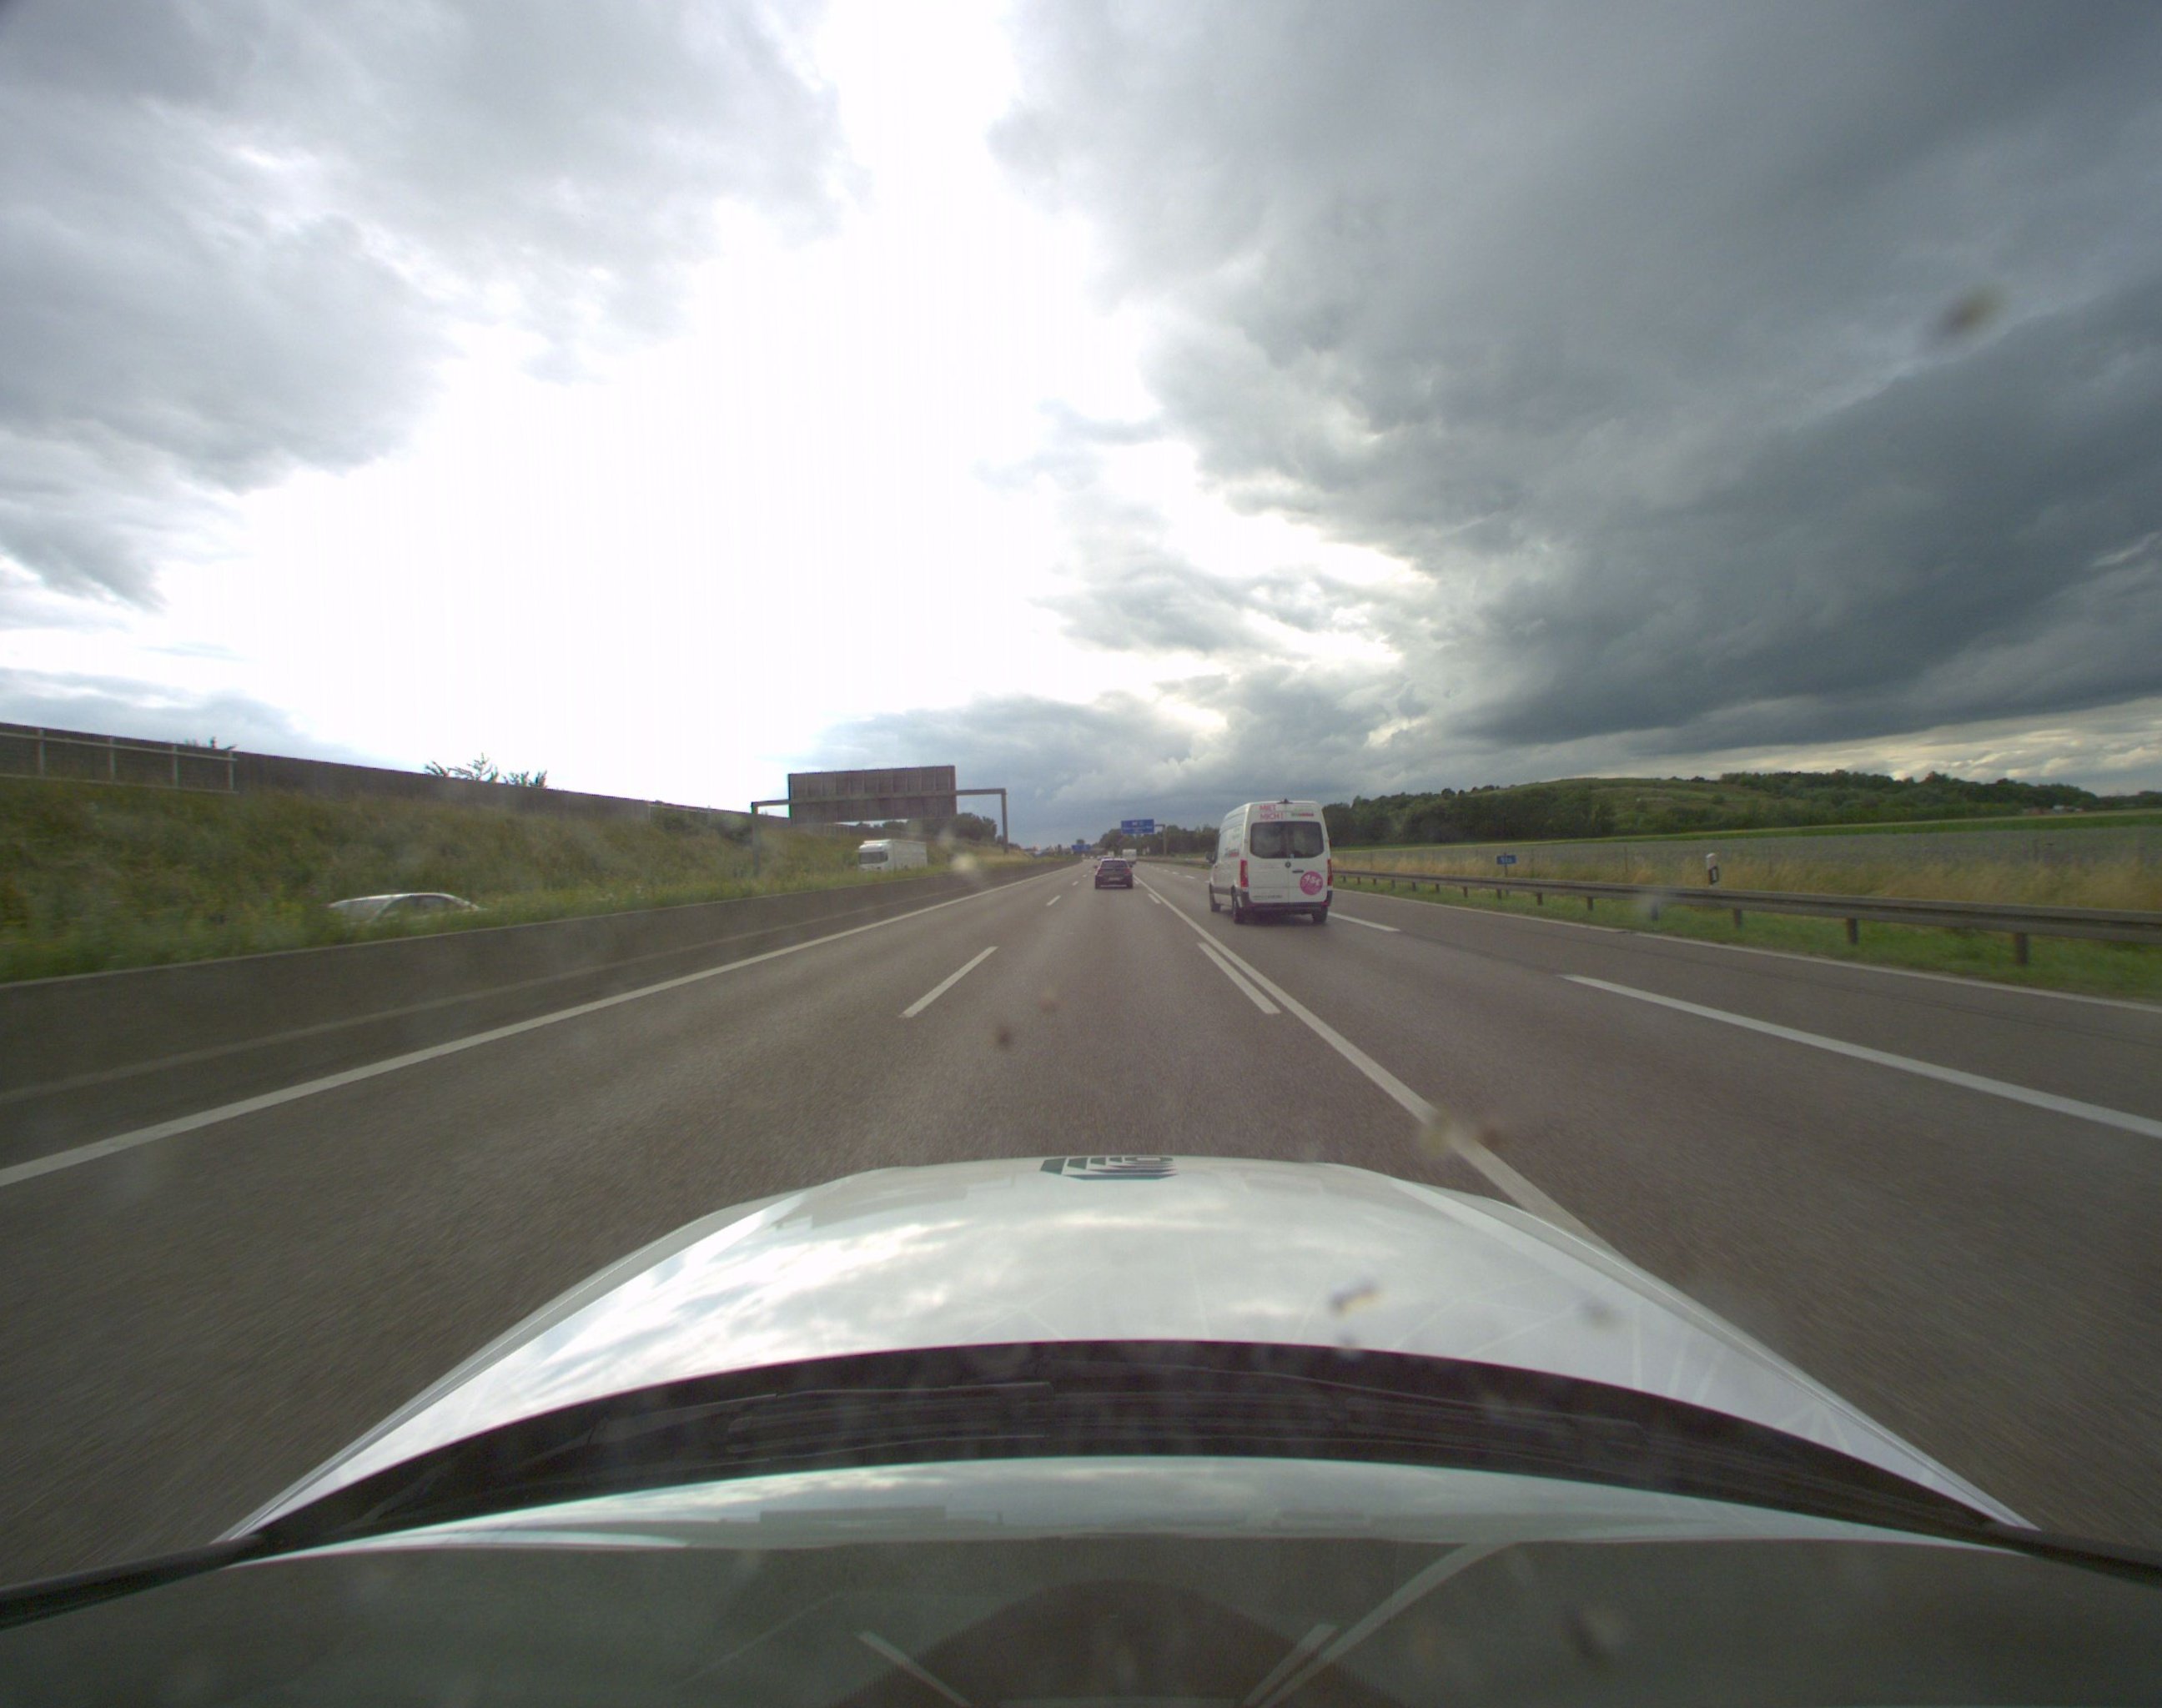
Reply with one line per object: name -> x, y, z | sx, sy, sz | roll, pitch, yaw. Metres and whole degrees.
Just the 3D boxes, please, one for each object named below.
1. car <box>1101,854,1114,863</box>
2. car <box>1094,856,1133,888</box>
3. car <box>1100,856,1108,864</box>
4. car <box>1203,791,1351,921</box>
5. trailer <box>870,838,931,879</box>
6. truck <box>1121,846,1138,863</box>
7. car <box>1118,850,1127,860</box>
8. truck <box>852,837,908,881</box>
car -> 4.219, 0.659, 131.118 | 1.986, 1.298, 4.001 | -3, 0, 1
car -> 1.563, 0.808, 38.891 | 1.736, 1.389, 4.002 | -1, 0, 2
car -> 6.351, 1.567, 224.113 | 1.986, 2.013, 4.001 | -3, 0, 1
car -> 4.444, 0.036, 19.616 | 2.212, 2.568, 6.259 | -2, 0, 2
trailer -> -17.809, 0.419, 81.314 | 2.766, 3.677, 12.270 | -3, 0, 2
truck -> 8.453, 0.076, 142.724 | 2.700, 2.964, 12.452 | 0, 0, 2
car -> 9.824, 0.234, 191.768 | 1.986, 2.013, 4.001 | -3, 0, 1
truck -> -18.063, 0.425, 73.734 | 2.716, 3.677, 7.493 | -3, 0, 2
